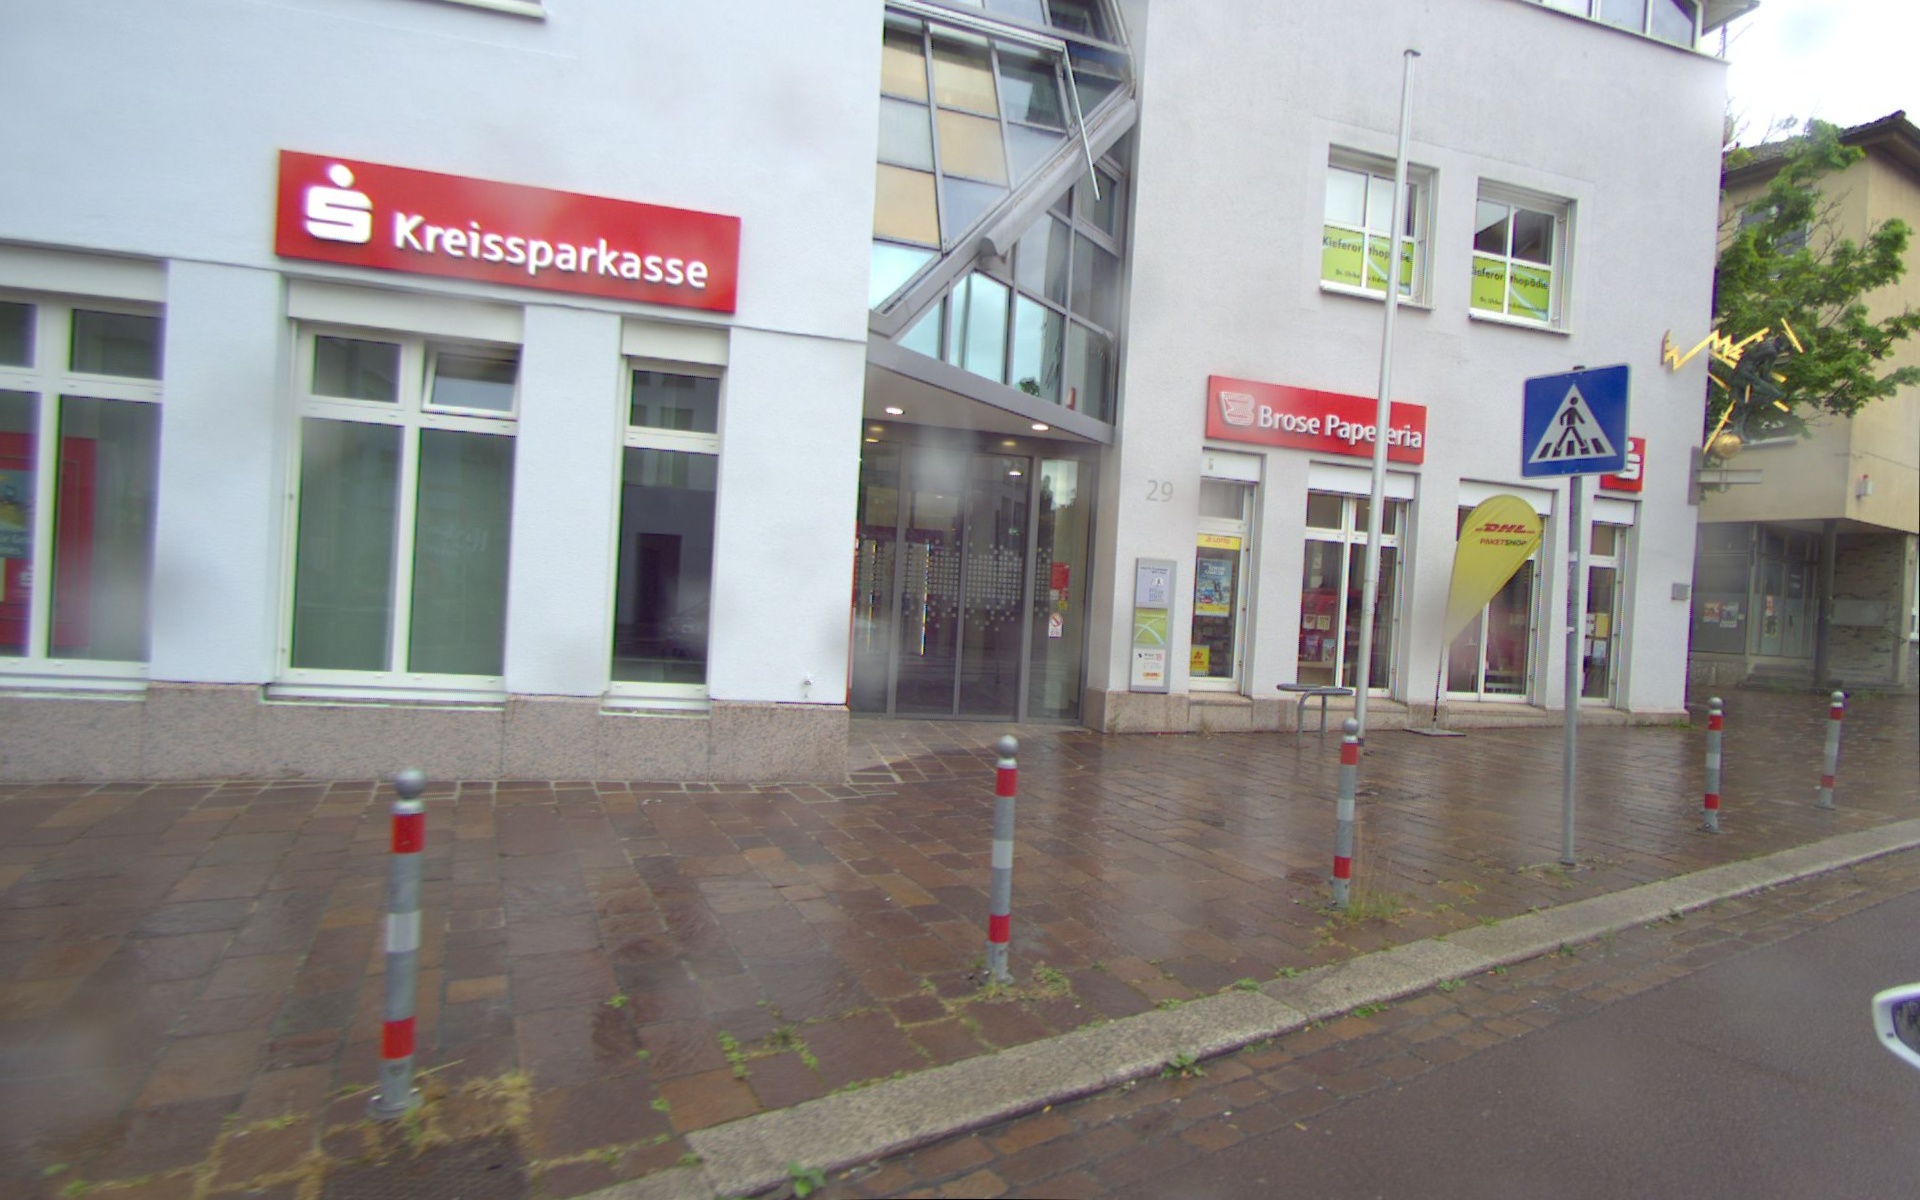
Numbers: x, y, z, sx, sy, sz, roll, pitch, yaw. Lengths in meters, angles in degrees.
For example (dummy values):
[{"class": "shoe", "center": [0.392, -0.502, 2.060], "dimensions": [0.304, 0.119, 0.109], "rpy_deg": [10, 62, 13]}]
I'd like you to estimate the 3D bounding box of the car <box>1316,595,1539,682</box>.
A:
[{"class": "car", "center": [9.397, 0.714, 20.579], "dimensions": [1.935, 1.585, 3.984], "rpy_deg": [2, 0, -18]}]
